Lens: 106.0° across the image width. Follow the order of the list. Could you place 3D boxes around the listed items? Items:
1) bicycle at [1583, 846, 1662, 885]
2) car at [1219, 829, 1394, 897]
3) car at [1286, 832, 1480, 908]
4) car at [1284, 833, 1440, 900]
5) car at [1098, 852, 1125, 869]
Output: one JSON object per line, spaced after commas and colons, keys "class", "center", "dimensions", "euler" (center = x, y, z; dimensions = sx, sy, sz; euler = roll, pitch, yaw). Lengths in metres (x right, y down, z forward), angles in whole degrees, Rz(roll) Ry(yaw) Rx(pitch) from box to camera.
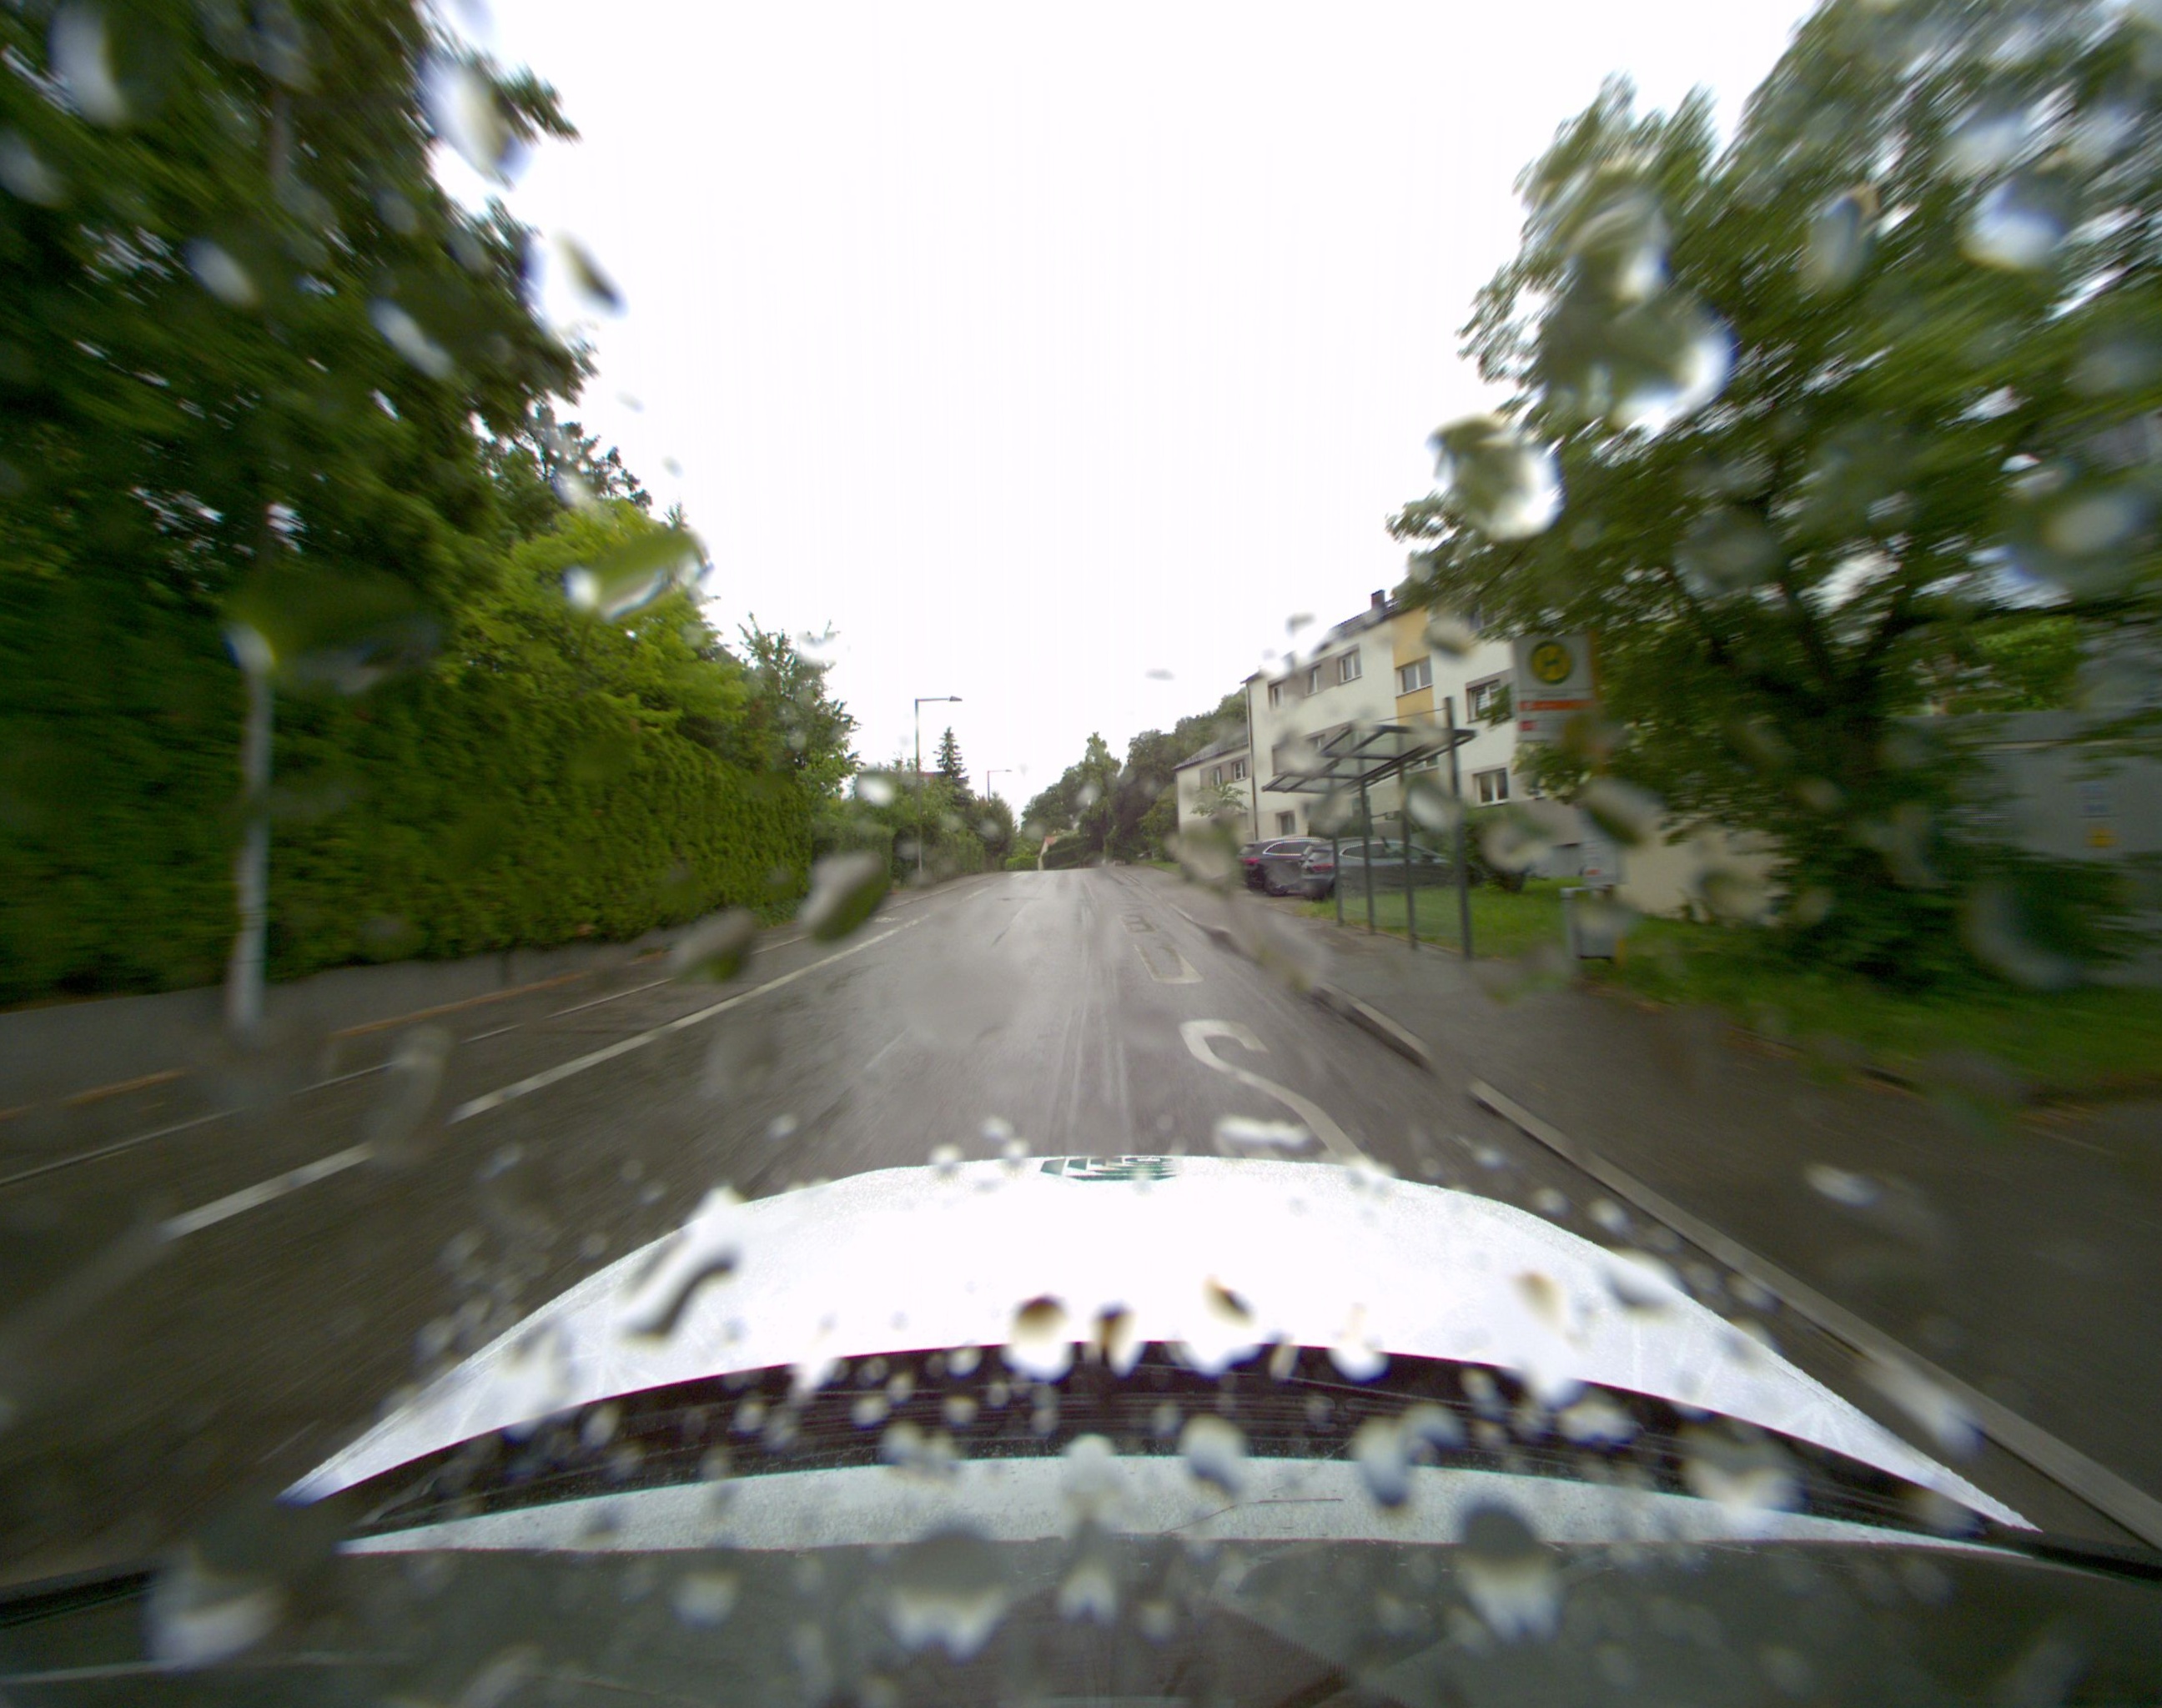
{"class": "bicycle", "center": [14.225, 0.288, 21.455], "dimensions": [0.574, 0.990, 1.668], "euler": [-1, 0, -25]}
{"class": "car", "center": [6.501, 0.236, 23.709], "dimensions": [4.521, 1.660, 1.852], "euler": [-3, 1, -7]}
{"class": "car", "center": [6.786, 0.337, 18.546], "dimensions": [3.733, 1.458, 1.723], "euler": [-3, 1, -2]}
{"class": "car", "center": [7.234, 0.308, 21.173], "dimensions": [3.429, 1.496, 1.666], "euler": [-3, 1, -2]}
{"class": "car", "center": [3.153, 0.719, 85.334], "dimensions": [1.535, 1.535, 3.824], "euler": [-7, 0, -16]}
